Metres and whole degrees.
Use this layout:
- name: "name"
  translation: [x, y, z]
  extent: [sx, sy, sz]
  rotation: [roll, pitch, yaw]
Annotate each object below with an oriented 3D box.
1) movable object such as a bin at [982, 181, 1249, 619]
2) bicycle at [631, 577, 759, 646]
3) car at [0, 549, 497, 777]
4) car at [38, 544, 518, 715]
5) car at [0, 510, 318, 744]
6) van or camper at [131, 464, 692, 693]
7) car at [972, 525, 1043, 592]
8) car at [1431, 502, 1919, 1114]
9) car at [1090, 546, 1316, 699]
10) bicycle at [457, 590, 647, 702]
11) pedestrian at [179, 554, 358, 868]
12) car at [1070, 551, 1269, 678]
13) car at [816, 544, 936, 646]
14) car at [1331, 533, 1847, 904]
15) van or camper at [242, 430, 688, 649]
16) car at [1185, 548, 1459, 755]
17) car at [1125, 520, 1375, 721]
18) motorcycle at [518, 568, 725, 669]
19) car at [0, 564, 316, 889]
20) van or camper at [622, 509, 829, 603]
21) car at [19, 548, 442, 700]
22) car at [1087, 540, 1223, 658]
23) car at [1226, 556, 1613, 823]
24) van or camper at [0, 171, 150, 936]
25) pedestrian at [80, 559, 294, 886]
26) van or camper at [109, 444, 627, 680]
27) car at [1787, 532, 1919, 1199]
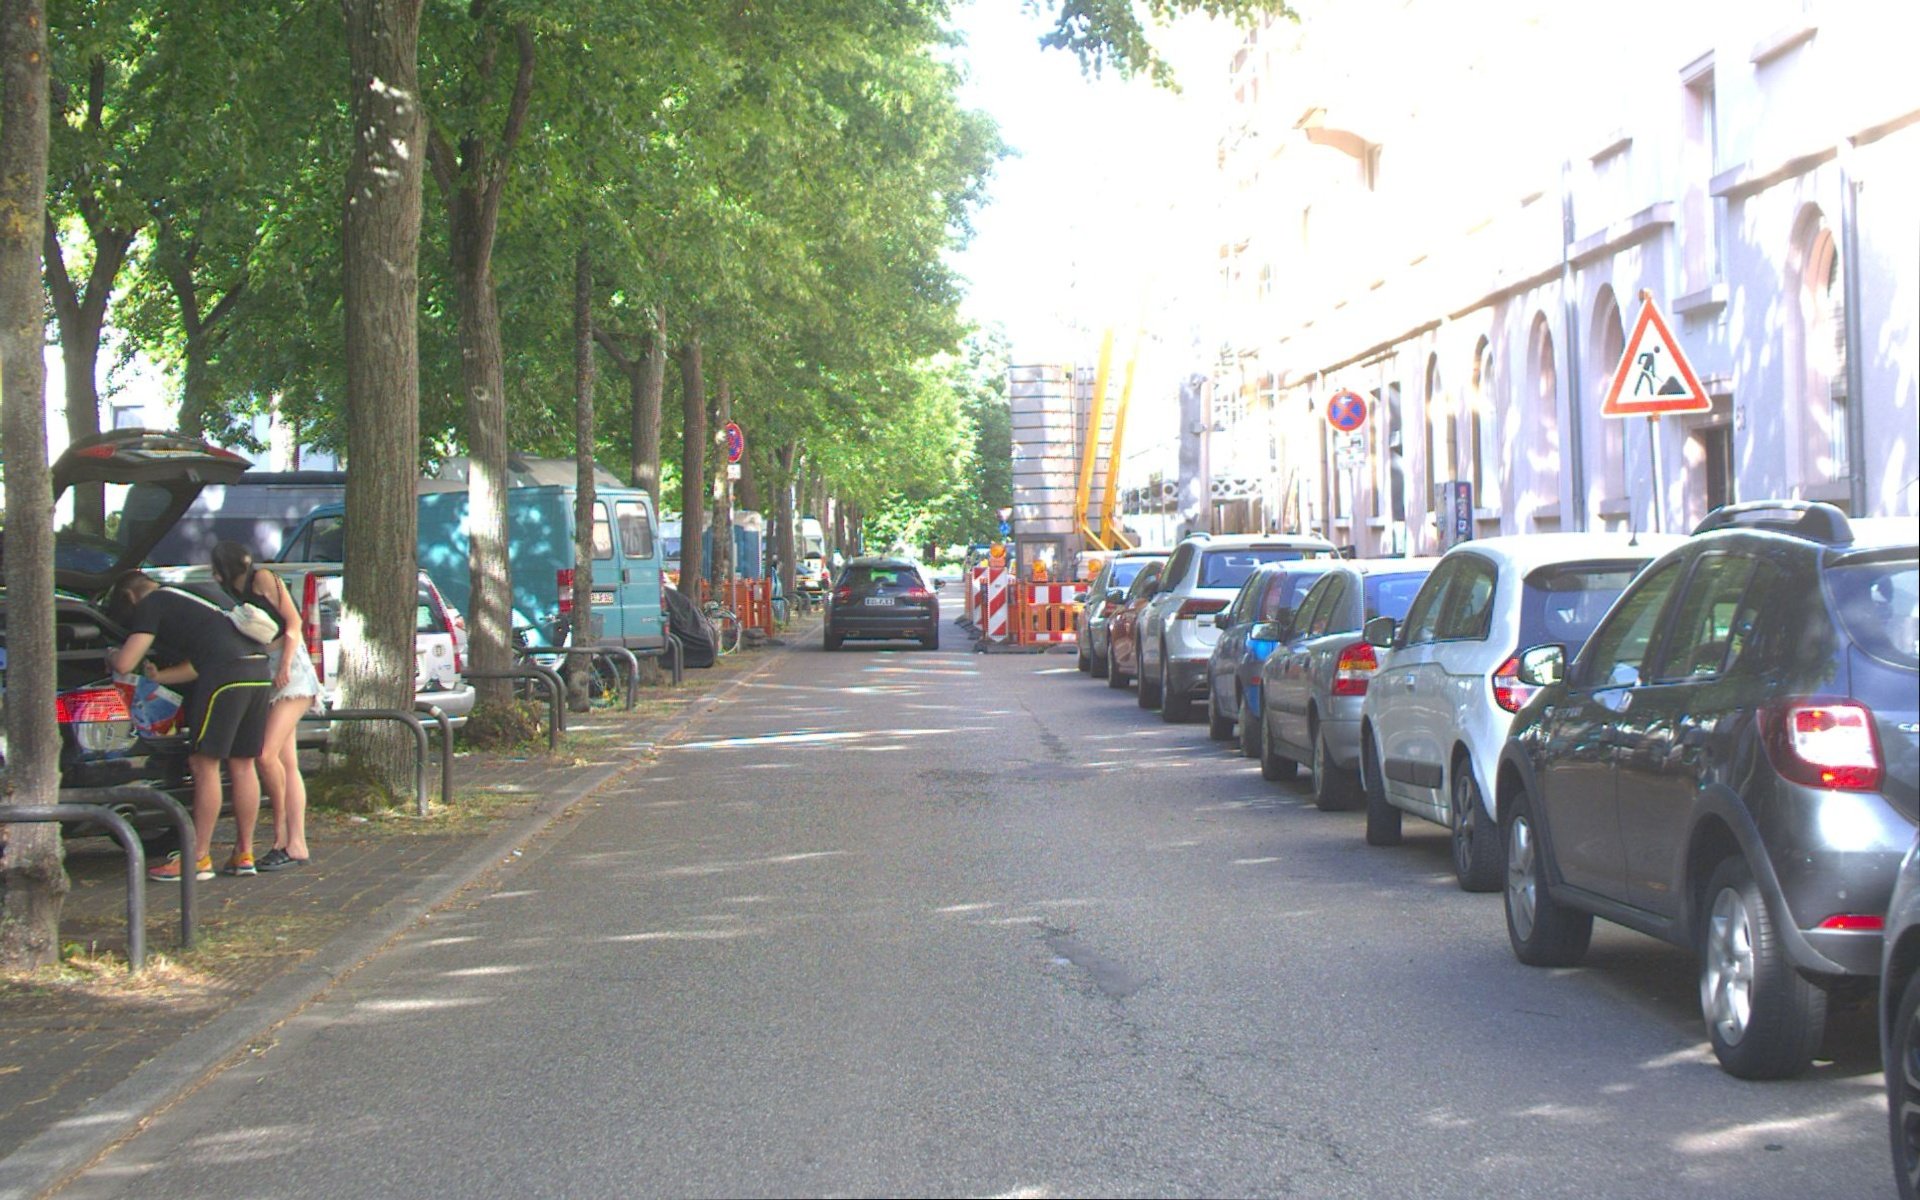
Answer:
- name: "movable object such as a bin"
  translation: [2.481, -3.089, 54.794]
  extent: [3.485, 6.736, 2.364]
  rotation: [0, 1, 32]
- name: "bicycle"
  translation: [-3.951, 0.171, 51.203]
  extent: [1.899, 1.003, 0.430]
  rotation: [-1, 1, 23]
- name: "car"
  translation: [-5.522, 0.399, 23.872]
  extent: [4.482, 1.438, 1.729]
  rotation: [0, 1, 32]
- name: "car"
  translation: [-6.167, 0.248, 31.051]
  extent: [3.949, 1.438, 1.844]
  rotation: [0, 1, 28]
- name: "car"
  translation: [-7.570, 0.191, 27.822]
  extent: [4.553, 1.758, 1.807]
  rotation: [0, 1, 30]
- name: "van or camper"
  translation: [-5.834, -0.220, 36.550]
  extent: [5.504, 2.267, 2.218]
  rotation: [-1, 1, 23]
- name: "car"
  translation: [1.312, -1.187, 96.498]
  extent: [1.797, 1.794, 3.586]
  rotation: [-1, 1, -2]
- name: "car"
  translation: [2.806, 0.493, 11.085]
  extent: [1.722, 1.591, 4.159]
  rotation: [-1, 1, -4]
- name: "car"
  translation: [2.549, 0.193, 36.910]
  extent: [1.790, 1.518, 3.965]
  rotation: [-1, 1, -5]
- name: "bicycle"
  translation: [-3.896, 0.433, 32.887]
  extent: [1.719, 1.002, 0.511]
  rotation: [-2, 1, -30]
- name: "pedestrian"
  translation: [-3.276, 0.515, 16.311]
  extent: [0.615, 1.451, 0.519]
  rotation: [-1, 1, 23]
- name: "car"
  translation: [2.470, 0.133, 41.545]
  extent: [1.993, 1.404, 4.501]
  rotation: [0, 1, -2]
- name: "car"
  translation: [-1.341, -0.107, 54.587]
  extent: [1.797, 1.498, 3.586]
  rotation: [-1, 1, -2]
- name: "car"
  translation: [2.838, 0.461, 16.225]
  extent: [1.630, 1.529, 3.593]
  rotation: [-1, 1, -2]
- name: "van or camper"
  translation: [-7.791, -0.916, 53.890]
  extent: [6.666, 3.229, 2.492]
  rotation: [-1, 1, 28]
- name: "car"
  translation: [2.663, 0.335, 26.021]
  extent: [1.617, 1.408, 3.788]
  rotation: [-1, 1, -1]
- name: "car"
  translation: [2.559, 0.125, 31.375]
  extent: [1.816, 1.668, 4.674]
  rotation: [-1, 1, -1]
- name: "motorcycle"
  translation: [-4.400, 0.238, 44.752]
  extent: [2.550, 1.254, 0.763]
  rotation: [-1, 1, 7]
- name: "car"
  translation: [-5.461, 0.569, 16.982]
  extent: [4.321, 1.419, 1.673]
  rotation: [0, 1, 26]
- name: "van or camper"
  translation: [-6.513, -1.201, 95.316]
  extent: [5.342, 2.466, 2.290]
  rotation: [-1, 1, 32]
- name: "car"
  translation: [-7.296, 0.225, 34.316]
  extent: [3.993, 1.426, 1.719]
  rotation: [0, 1, 30]
- name: "car"
  translation: [2.606, -0.040, 46.428]
  extent: [1.591, 1.525, 2.781]
  rotation: [0, 1, -2]
- name: "car"
  translation: [2.674, 0.461, 20.853]
  extent: [1.630, 1.408, 4.089]
  rotation: [-1, 1, -2]
- name: "van or camper"
  translation: [-7.056, -0.122, 14.441]
  extent: [7.236, 2.919, 2.311]
  rotation: [-1, 1, 27]
- name: "pedestrian"
  translation: [-3.534, 0.547, 15.736]
  extent: [0.710, 1.451, 0.596]
  rotation: [-1, 1, 23]
- name: "van or camper"
  translation: [-7.060, -0.429, 40.792]
  extent: [5.877, 2.628, 2.252]
  rotation: [-1, 1, 29]
- name: "car"
  translation: [2.861, 0.634, 5.815]
  extent: [1.722, 1.523, 4.159]
  rotation: [-1, 1, -3]
